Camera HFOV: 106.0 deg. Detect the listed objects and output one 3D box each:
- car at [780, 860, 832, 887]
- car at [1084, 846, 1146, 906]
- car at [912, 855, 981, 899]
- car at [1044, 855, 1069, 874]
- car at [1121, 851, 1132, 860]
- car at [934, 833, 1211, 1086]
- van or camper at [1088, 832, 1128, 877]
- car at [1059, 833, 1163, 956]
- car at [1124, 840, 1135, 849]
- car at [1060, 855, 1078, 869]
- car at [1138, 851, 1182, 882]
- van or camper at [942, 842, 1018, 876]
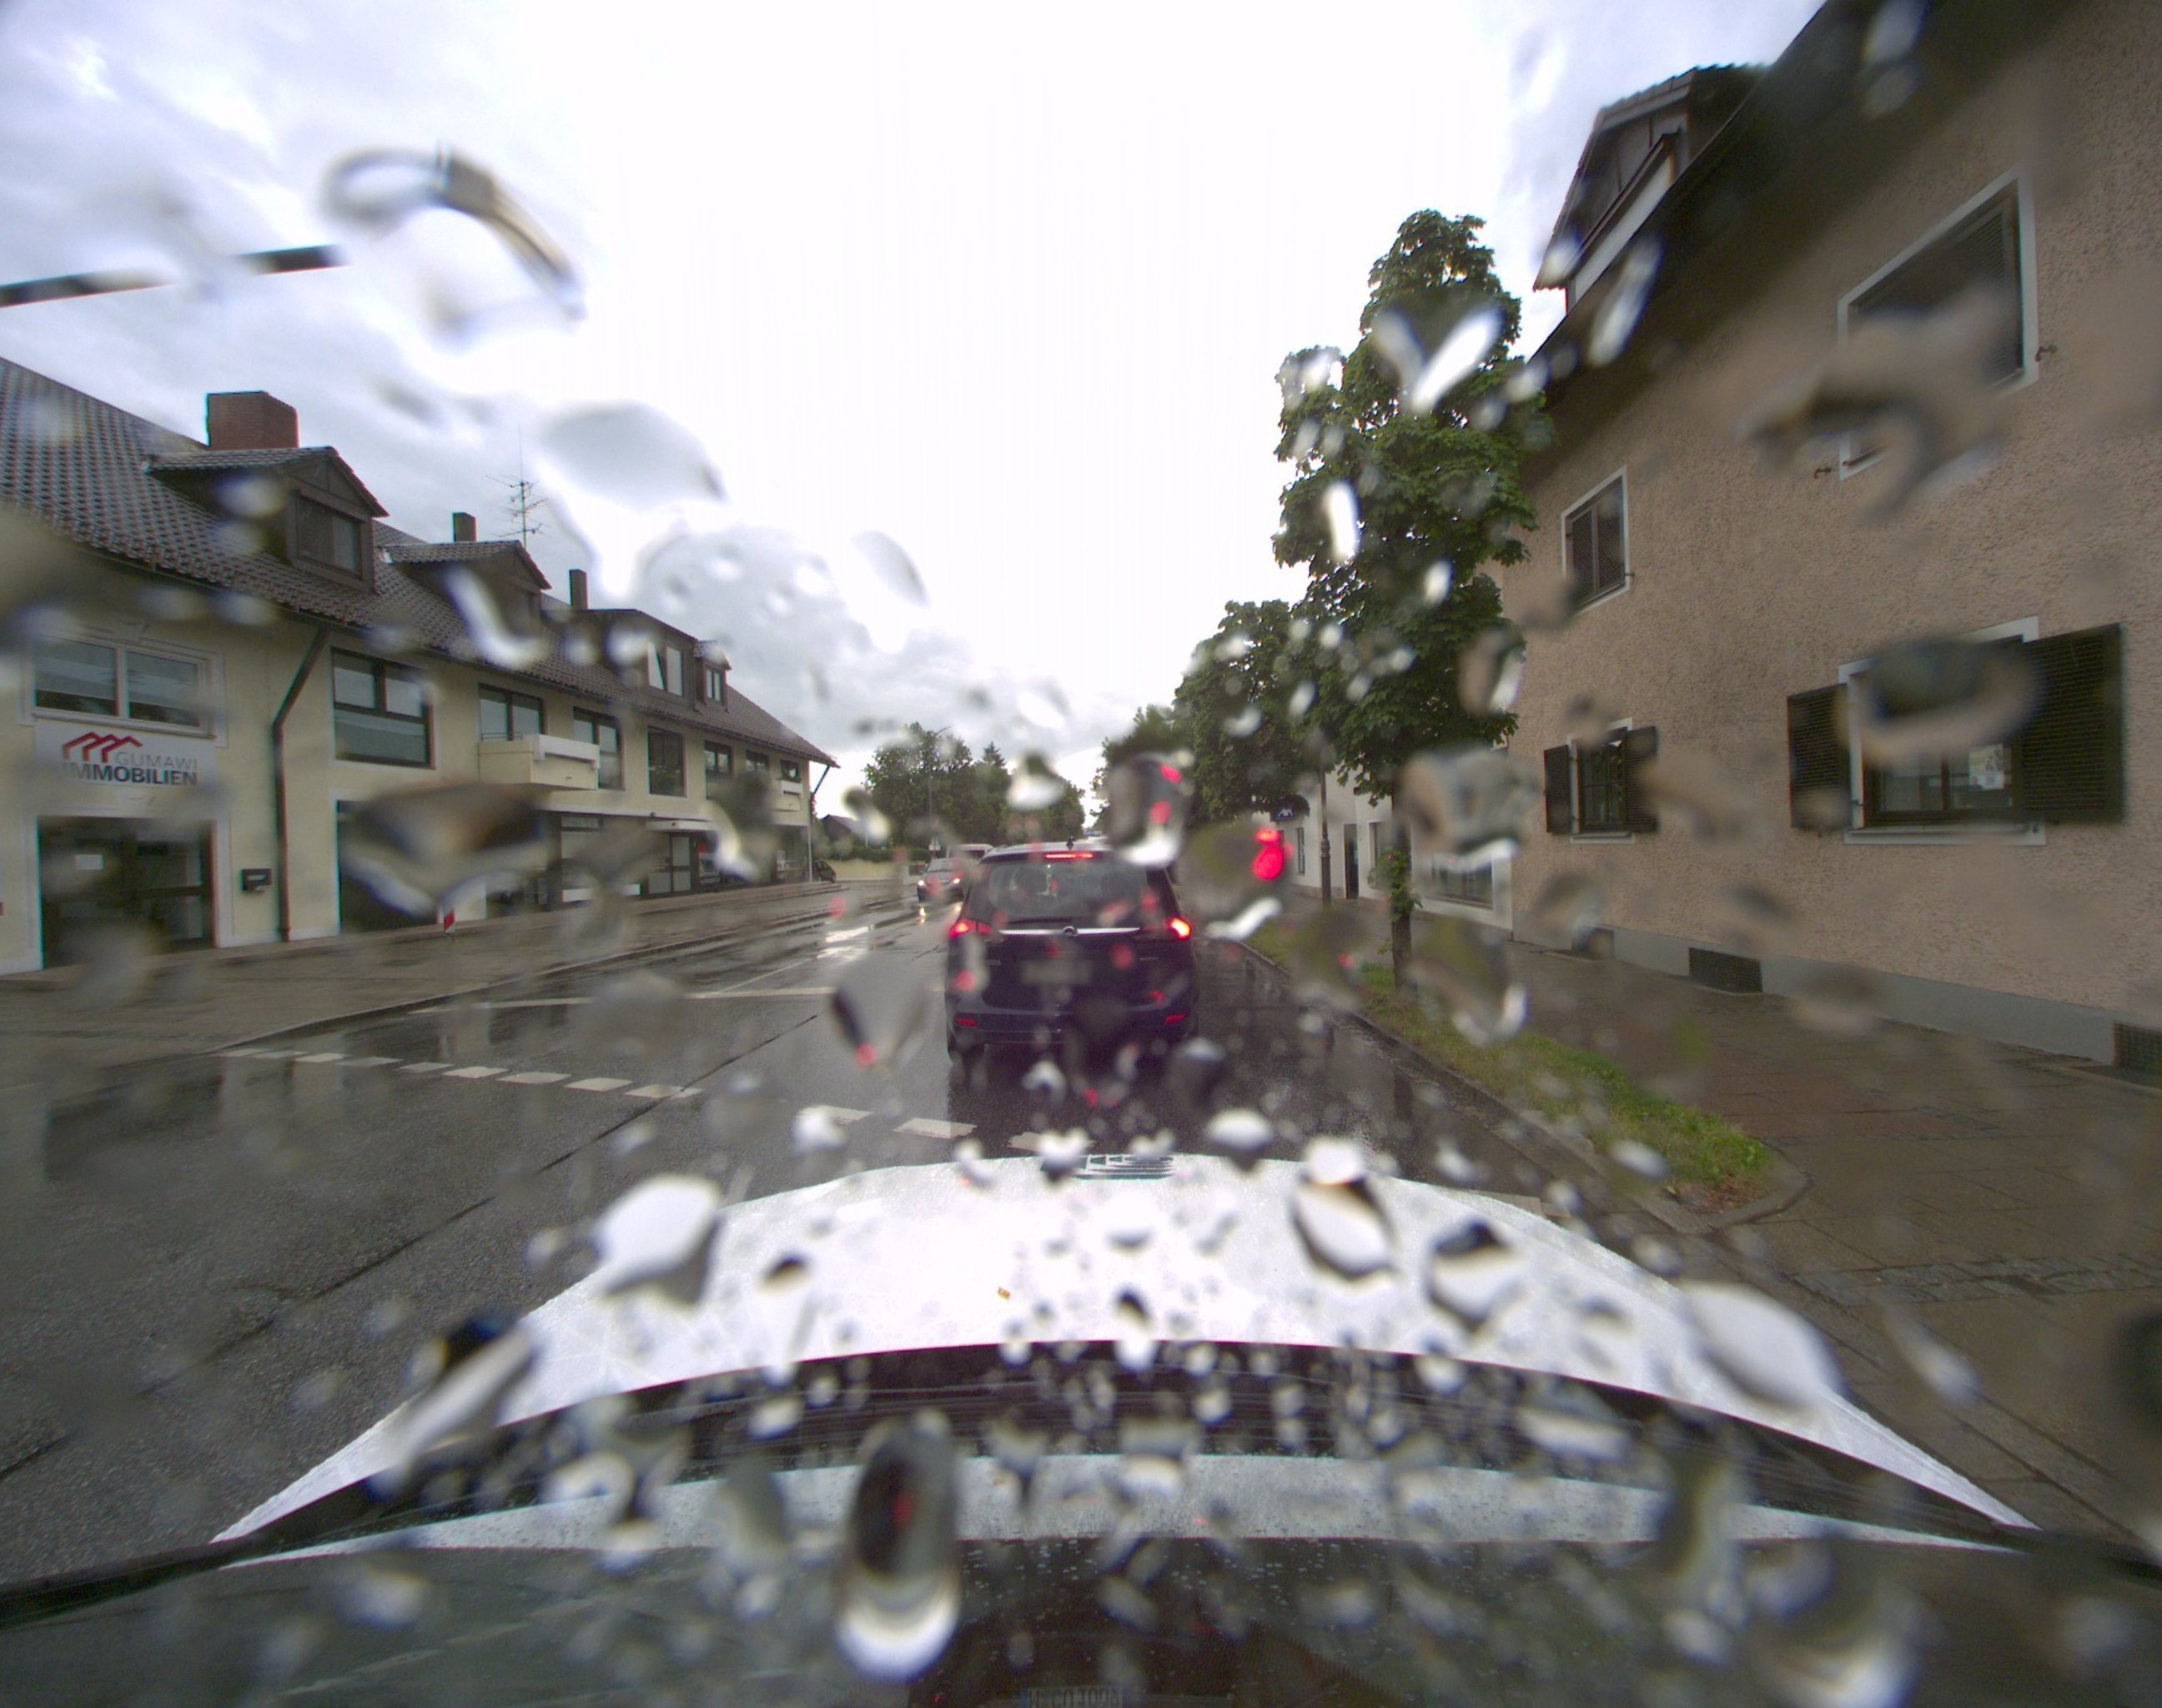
[{"bbox_3d":[-15.916,1.115,47.294,1.601,1.380,3.511,-3,0,2],"label":"car"},{"bbox_3d":[1.046,0.637,25.549,1.749,1.706,3.620,-2,0,2],"label":"car"},{"bbox_3d":[-5.246,0.864,32.161,1.909,1.533,3.900,-2,0,1],"label":"car"},{"bbox_3d":[-2.238,0.934,74.636,1.960,1.563,4.153,-3,0,2],"label":"car"},{"bbox_3d":[7.383,0.302,132.889,1.624,1.378,3.624,0,-1,2],"label":"car"},{"bbox_3d":[0.004,0.670,7.021,1.762,1.604,3.665,0,0,2],"label":"car"},{"bbox_3d":[1.698,0.017,51.654,2.351,2.665,5.374,-2,0,2],"label":"van or camper"},{"bbox_3d":[0.486,0.580,13.273,1.495,1.776,3.113,0,0,2],"label":"car"},{"bbox_3d":[8.453,-1.670,142.445,1.624,1.378,3.624,-2,0,2],"label":"car"},{"bbox_3d":[-1.375,0.893,94.208,1.920,1.566,4.127,-2,0,1],"label":"car"},{"bbox_3d":[4.237,0.655,44.348,2.110,1.581,3.936,0,0,1],"label":"car"},{"bbox_3d":[-8.591,0.426,69.862,6.237,2.707,2.098,-2,0,-5],"label":"van or camper"}]
